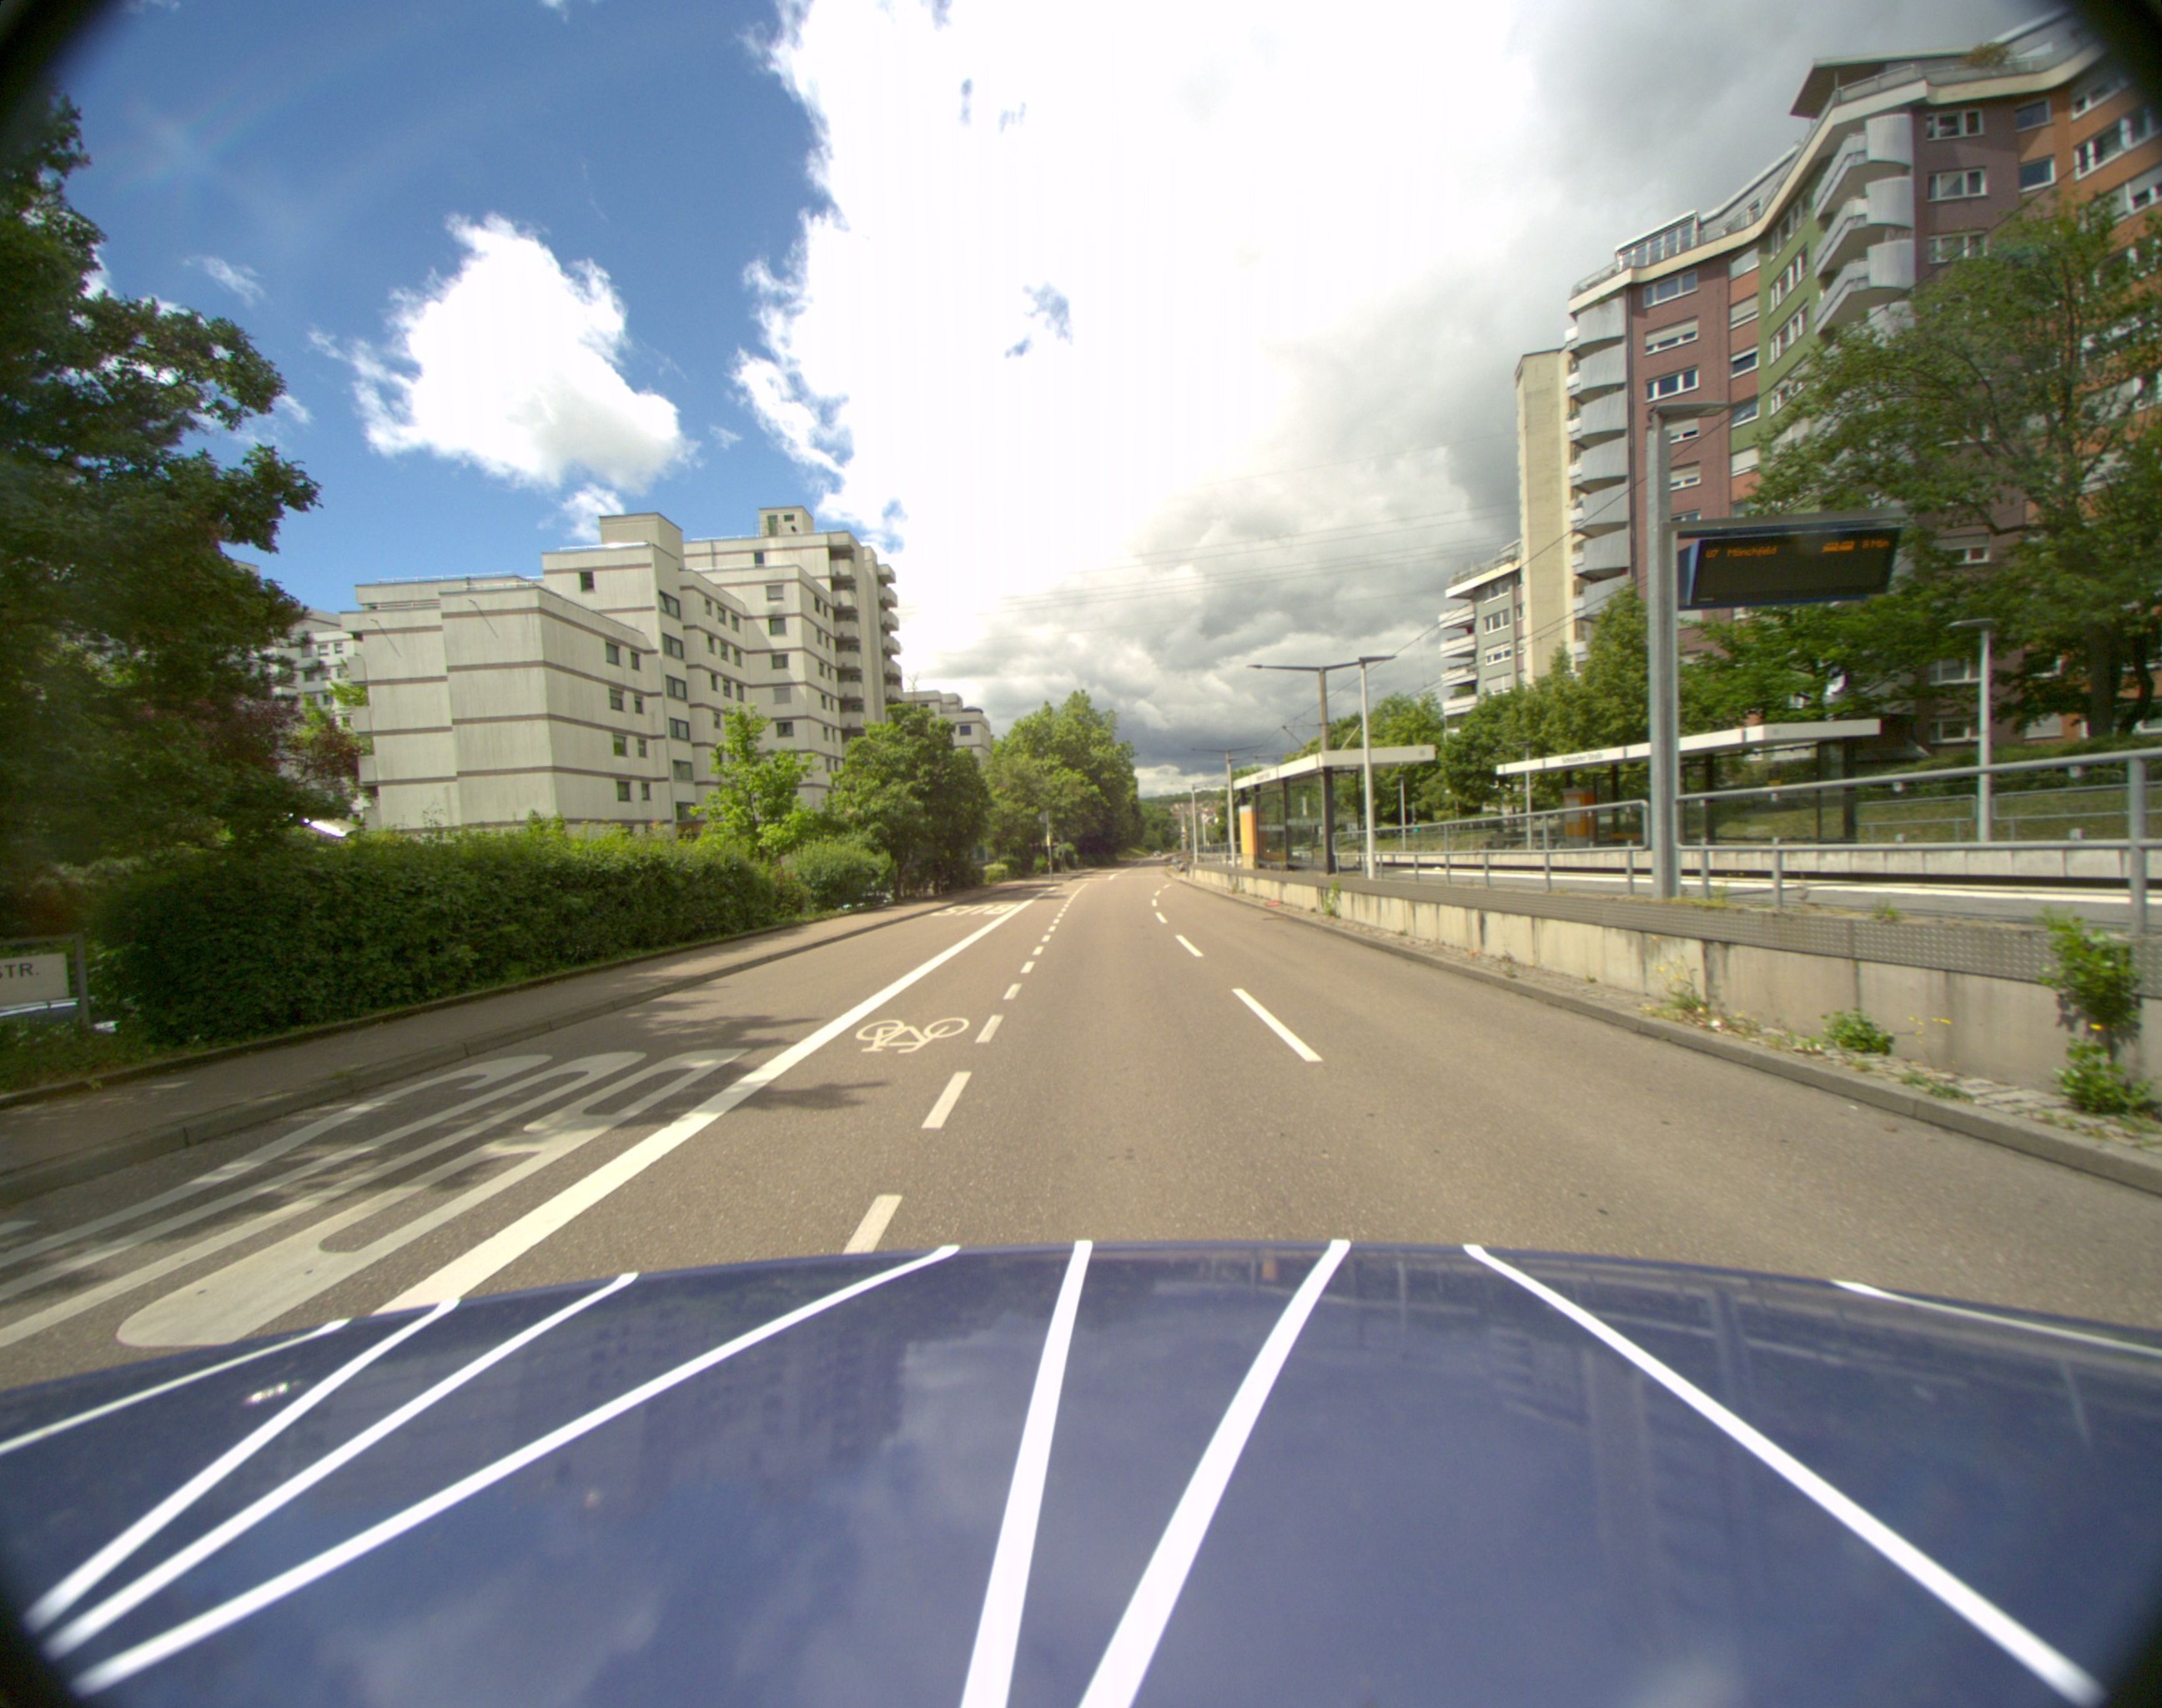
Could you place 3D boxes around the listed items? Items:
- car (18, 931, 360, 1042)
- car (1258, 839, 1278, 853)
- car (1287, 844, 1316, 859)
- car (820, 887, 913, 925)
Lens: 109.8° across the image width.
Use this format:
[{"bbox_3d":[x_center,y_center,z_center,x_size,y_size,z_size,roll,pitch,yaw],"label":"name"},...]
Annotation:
[{"bbox_3d":[-17.221,2.478,15.041,1.874,1.461,4.001,-2,0,5],"label":"car"},{"bbox_3d":[22.515,-0.970,91.633,1.658,1.503,3.738,-2,0,4],"label":"car"},{"bbox_3d":[21.671,-0.270,74.832,1.658,1.410,4.000,-2,0,1],"label":"car"},{"bbox_3d":[-9.954,2.410,35.439,3.761,1.424,1.564,-3,2,4],"label":"car"}]
